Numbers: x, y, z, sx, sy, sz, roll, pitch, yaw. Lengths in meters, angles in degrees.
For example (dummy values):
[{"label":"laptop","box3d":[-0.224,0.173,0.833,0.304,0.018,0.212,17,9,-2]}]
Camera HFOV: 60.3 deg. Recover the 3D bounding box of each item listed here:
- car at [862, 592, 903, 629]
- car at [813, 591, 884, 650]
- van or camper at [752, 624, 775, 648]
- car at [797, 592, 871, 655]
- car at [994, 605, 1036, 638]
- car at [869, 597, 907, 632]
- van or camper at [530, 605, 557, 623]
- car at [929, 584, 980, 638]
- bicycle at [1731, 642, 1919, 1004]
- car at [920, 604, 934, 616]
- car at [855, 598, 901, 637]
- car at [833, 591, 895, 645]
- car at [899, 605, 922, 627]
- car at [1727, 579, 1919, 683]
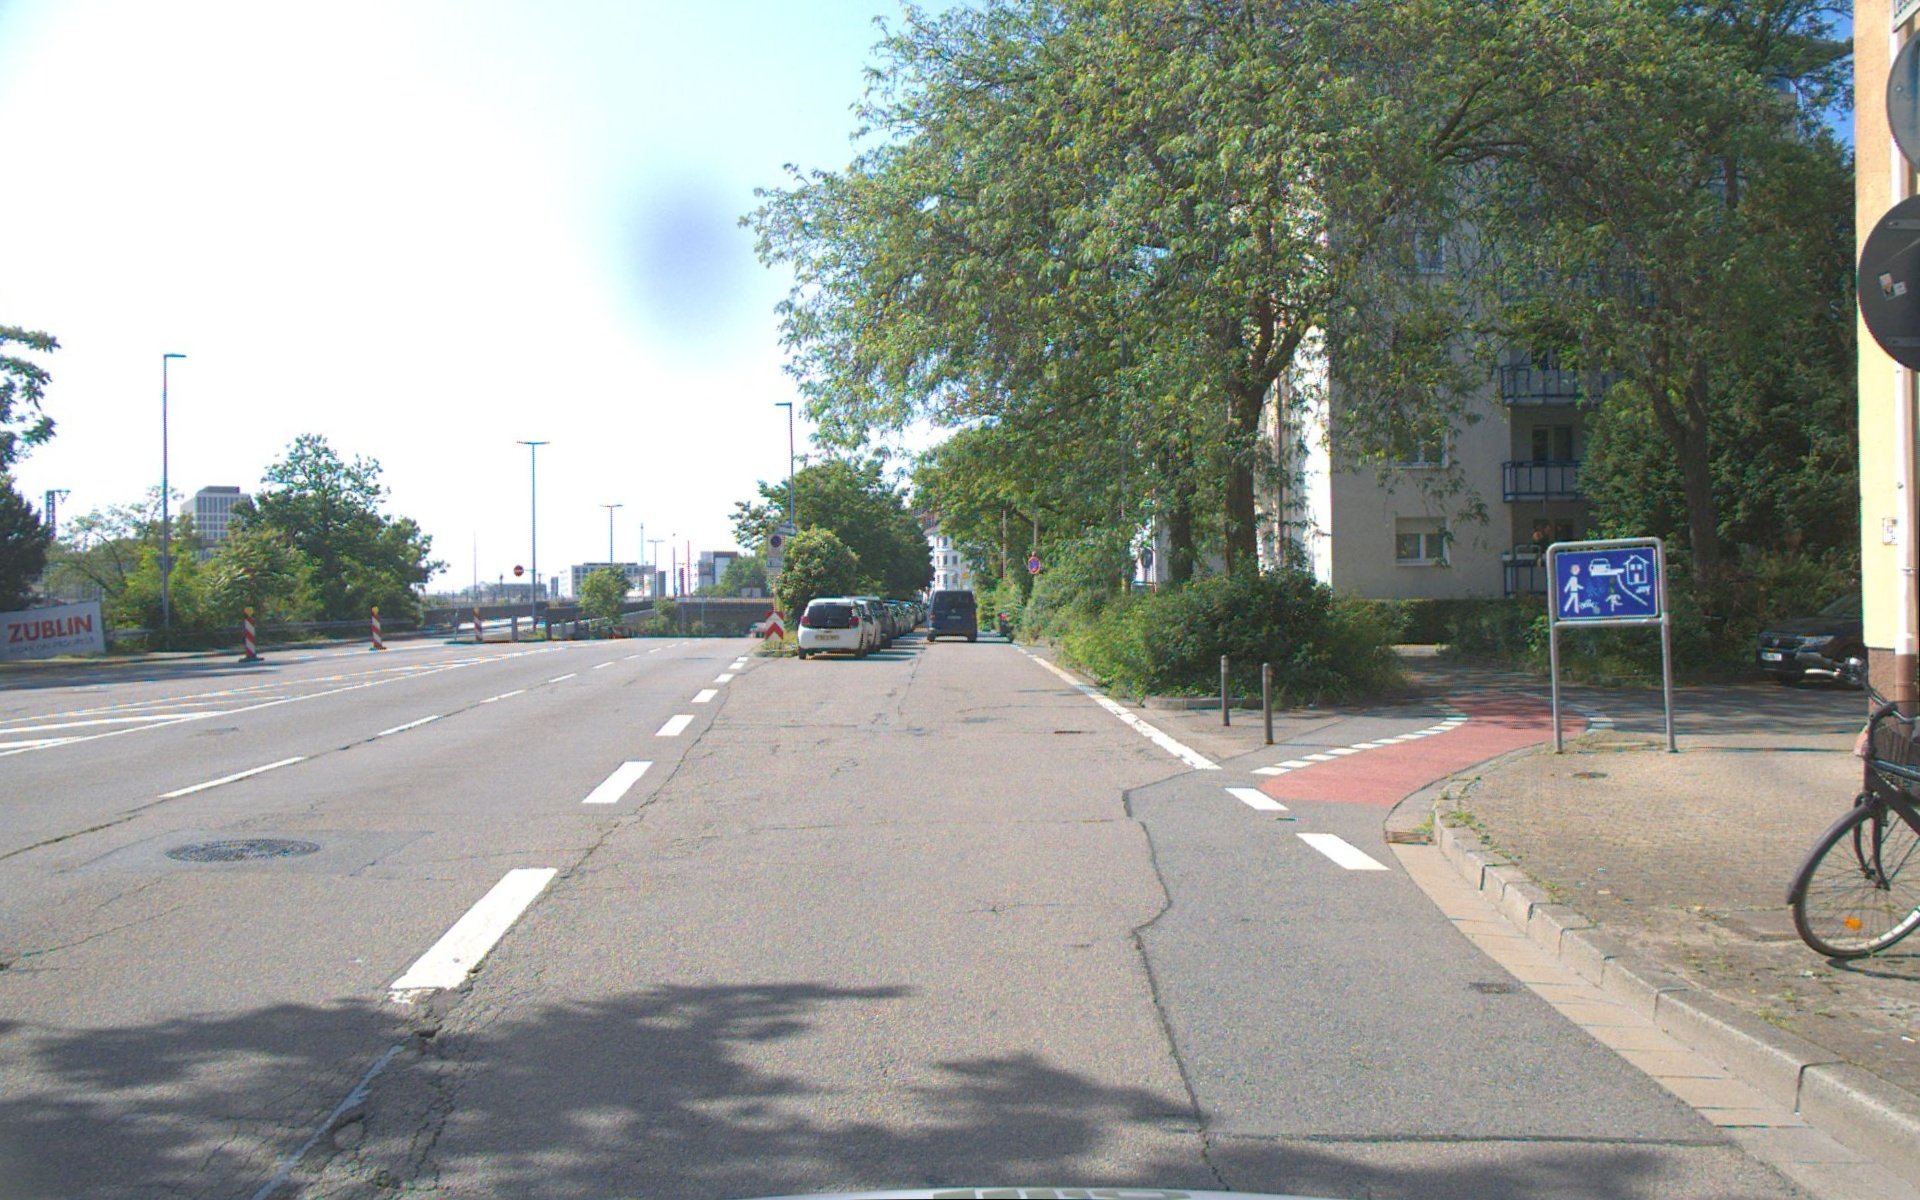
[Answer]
[{"label":"car","box3d":[-3.443,0.450,73.976,1.630,1.538,3.789,2,0,0]},{"label":"car","box3d":[-3.112,0.557,46.966,1.686,1.531,4.132,2,0,0]},{"label":"van or camper","box3d":[-24.060,4.410,202.778,2.250,2.838,5.569,0,0,-1]},{"label":"car","box3d":[-3.184,0.579,42.261,1.586,1.532,3.461,1,0,0]},{"label":"car","box3d":[2.481,0.976,75.381,1.691,1.445,3.999,-1,0,-1]},{"label":"car","box3d":[-3.391,0.661,78.809,1.630,1.611,3.931,0,0,0]},{"label":"van or camper","box3d":[-32.722,1.088,130.150,1.439,1.373,4.624,0,0,-6]},{"label":"car","box3d":[-0.198,0.415,63.572,1.844,1.955,4.008,2,0,0]},{"label":"bicycle","box3d":[3.458,0.745,5.637,0.689,1.143,1.743,-1,0,-6]},{"label":"car","box3d":[-4.662,1.358,232.977,1.953,1.686,3.999,0,-1,-1]},{"label":"car","box3d":[-3.351,0.702,68.141,1.630,1.499,3.789,2,0,0]},{"label":"car","box3d":[-3.070,0.522,52.184,1.738,1.607,4.180,-1,0,-6]},{"label":"car","box3d":[-3.790,1.223,127.167,1.630,1.536,4.008,2,0,0]},{"label":"car","box3d":[14.549,0.473,26.366,3.887,1.575,1.836,0,0,-10]}]
